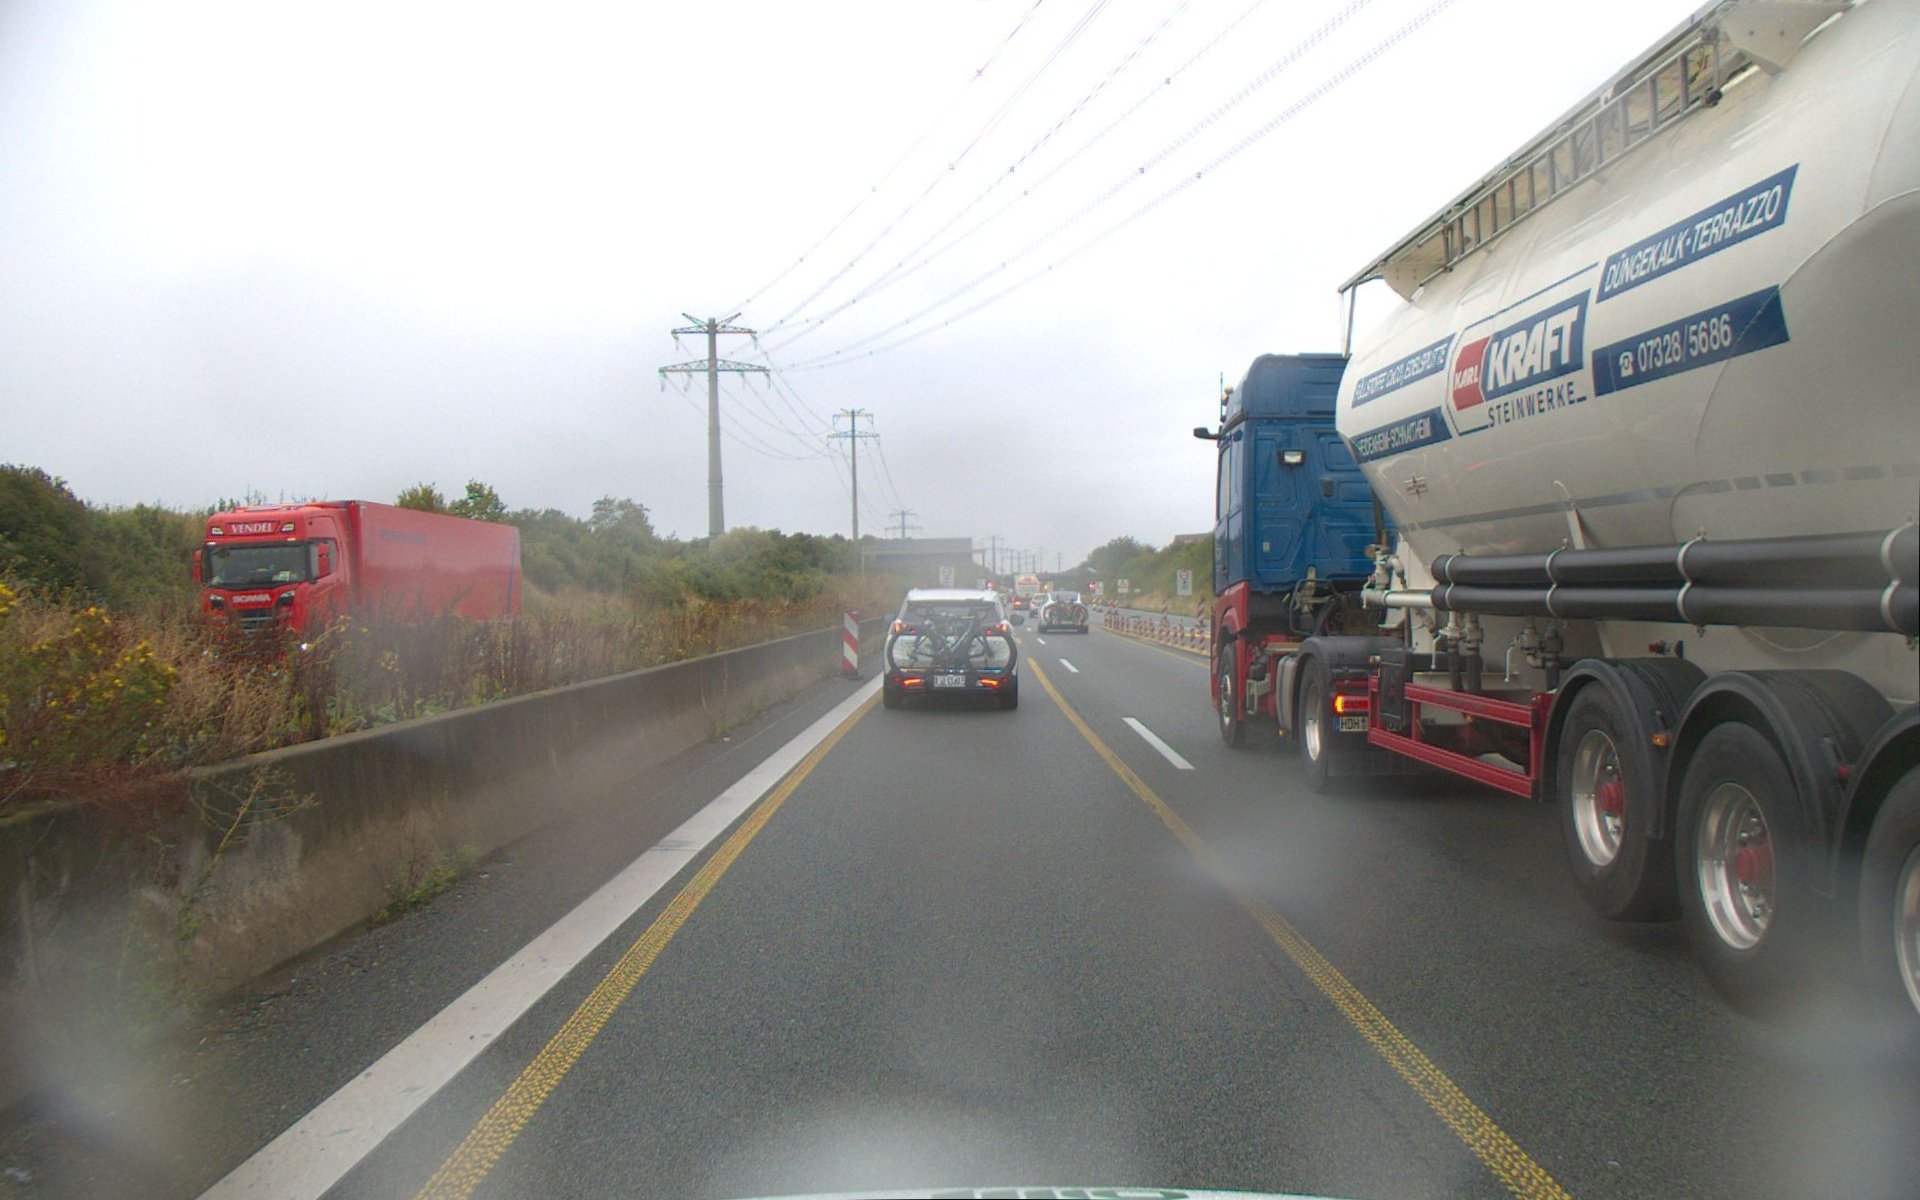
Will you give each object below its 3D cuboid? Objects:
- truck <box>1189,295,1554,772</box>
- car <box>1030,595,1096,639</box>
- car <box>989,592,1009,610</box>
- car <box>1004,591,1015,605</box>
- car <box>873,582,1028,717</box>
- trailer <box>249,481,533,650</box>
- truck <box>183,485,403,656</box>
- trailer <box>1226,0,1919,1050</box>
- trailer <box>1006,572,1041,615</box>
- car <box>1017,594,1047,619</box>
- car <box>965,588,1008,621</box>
[{"bbox_3d":[3.770,-0.550,16.018,2.495,4.016,3.999,1,-1,0],"label":"truck"},{"bbox_3d":[3.990,0.623,64.929,2.004,1.624,5.799,1,0,-2],"label":"car"},{"bbox_3d":[4.447,0.129,188.951,1.953,2.049,3.998,1,-1,-2],"label":"car"},{"bbox_3d":[7.295,-0.281,241.975,1.619,2.049,4.001,0,0,2],"label":"car"},{"bbox_3d":[-0.107,0.596,22.524,1.889,1.639,4.595,0,0,0],"label":"car"},{"bbox_3d":[-15.004,-0.744,45.363,2.975,3.881,13.976,1,0,0],"label":"trailer"},{"bbox_3d":[-14.991,-0.612,37.593,2.962,3.593,4.926,1,-1,0],"label":"truck"},{"bbox_3d":[3.930,-0.607,9.925,2.468,3.901,12.348,1,0,-1],"label":"trailer"},{"bbox_3d":[6.089,-0.600,160.203,2.585,3.961,10.538,1,0,-2],"label":"trailer"},{"bbox_3d":[4.645,0.414,107.276,1.831,1.561,4.197,0,0,1],"label":"car"},{"bbox_3d":[1.307,0.220,82.919,1.953,1.611,3.998,0,0,-2],"label":"car"}]
